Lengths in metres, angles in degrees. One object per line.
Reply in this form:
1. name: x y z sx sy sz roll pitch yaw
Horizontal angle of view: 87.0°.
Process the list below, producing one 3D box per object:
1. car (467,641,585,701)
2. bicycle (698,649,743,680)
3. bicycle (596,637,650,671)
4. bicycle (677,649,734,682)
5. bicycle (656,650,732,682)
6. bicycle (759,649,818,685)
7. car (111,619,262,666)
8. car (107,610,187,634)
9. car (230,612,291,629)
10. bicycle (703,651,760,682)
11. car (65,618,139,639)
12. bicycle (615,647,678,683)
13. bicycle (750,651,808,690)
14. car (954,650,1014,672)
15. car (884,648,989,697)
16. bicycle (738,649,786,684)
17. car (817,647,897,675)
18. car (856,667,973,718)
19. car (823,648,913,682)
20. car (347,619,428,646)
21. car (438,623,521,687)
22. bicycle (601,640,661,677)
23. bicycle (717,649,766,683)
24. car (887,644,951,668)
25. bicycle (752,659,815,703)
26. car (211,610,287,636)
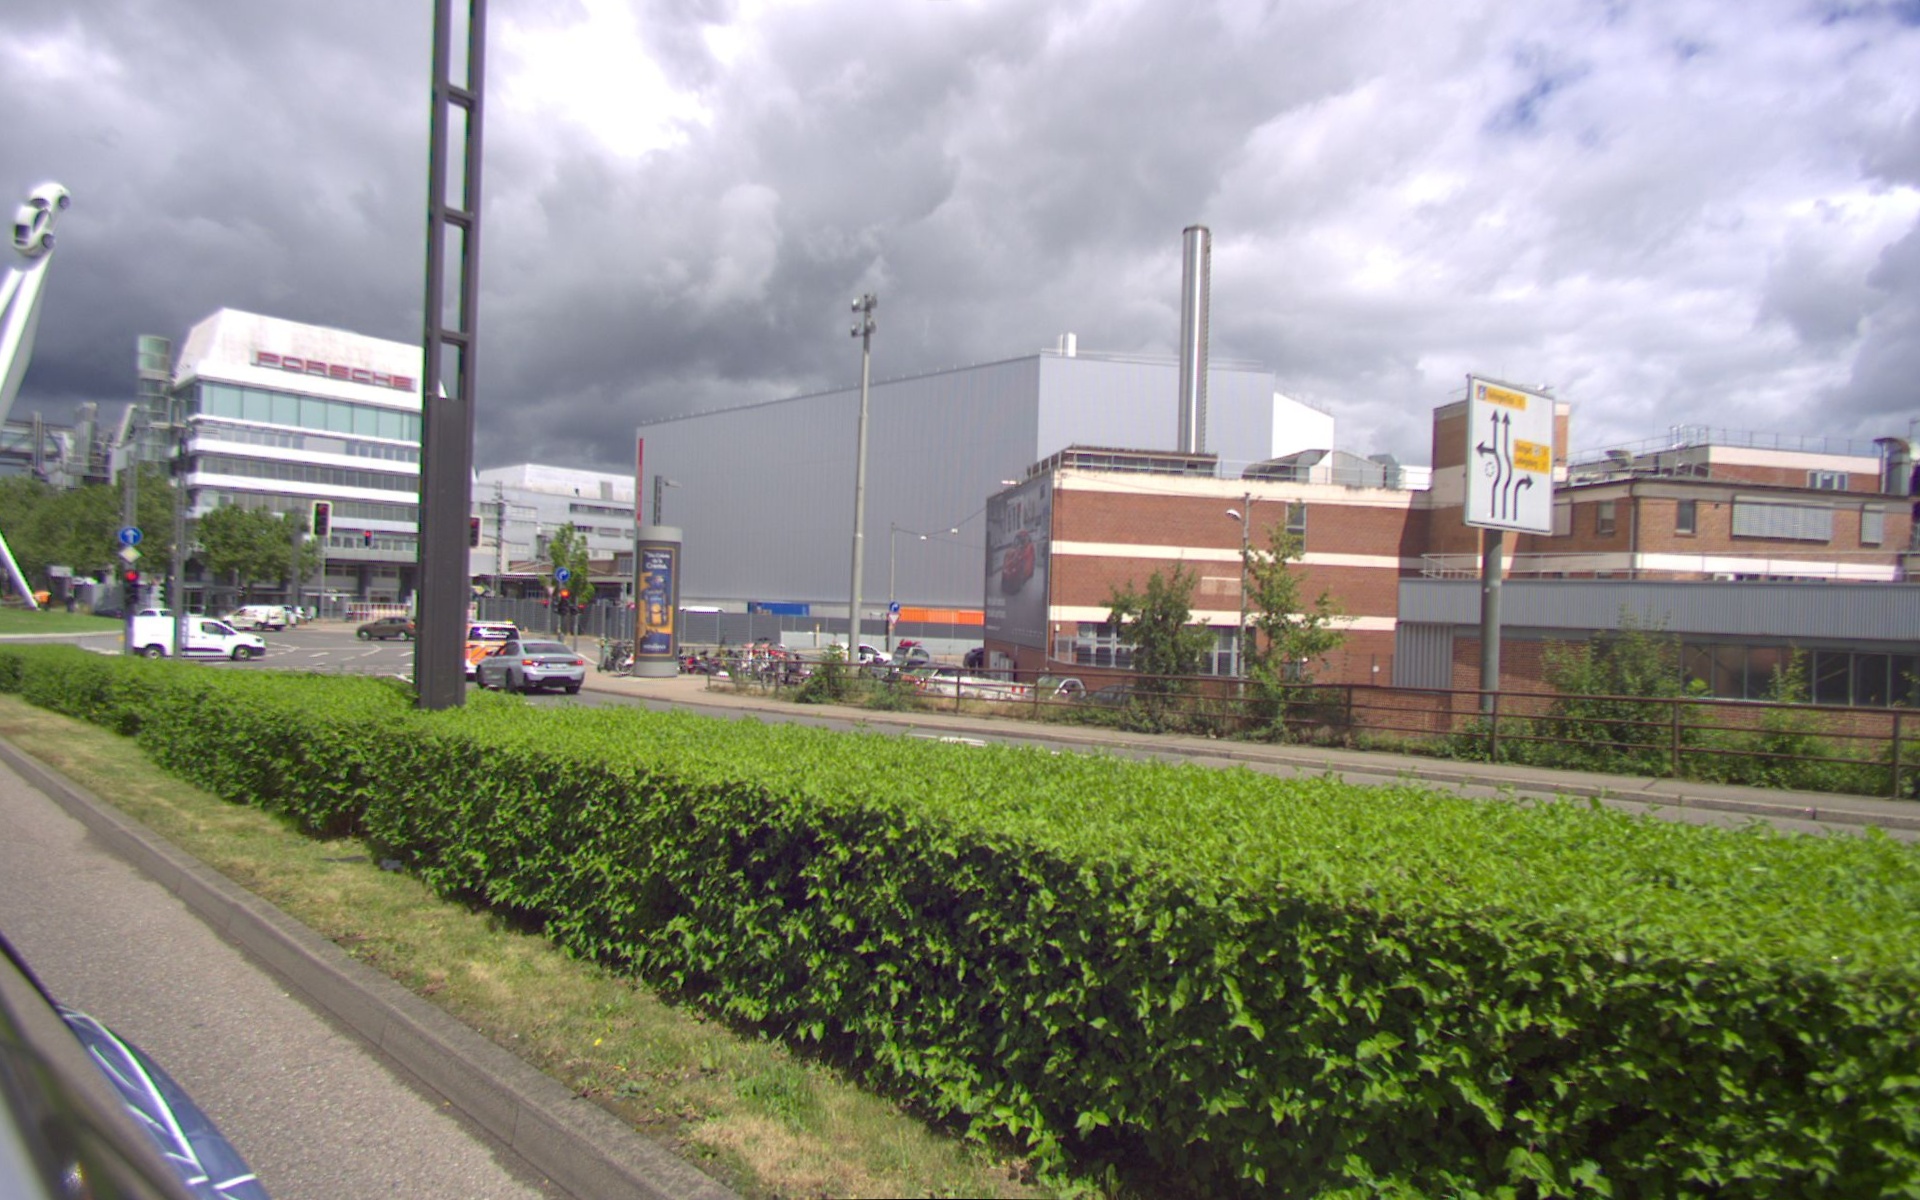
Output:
1. car: -12.017 1.896 27.866 1.773 1.433 4.500 3 -3 -39
2. bicycle: -8.028 2.146 33.862 1.950 0.996 0.513 -2 -3 44
3. bicycle: -13.010 2.084 39.146 1.861 1.277 0.669 1 -2 -42
4. bicycle: -10.307 2.635 41.022 2.077 1.265 0.742 1 -2 -30
5. bicycle: -11.413 2.823 43.435 3.028 1.276 1.167 1 -2 -24
6. bicycle: -5.129 1.997 30.412 0.619 0.996 1.928 -2 -3 32
7. car: -32.019 1.739 41.983 4.794 1.837 2.002 2 -2 -44
8. car: -56.839 1.559 70.821 4.193 1.591 1.996 0 -1 7
9. car: -59.073 1.769 85.522 3.891 1.388 1.633 1 -2 -14
10. bicycle: -8.813 2.558 39.095 2.024 1.121 0.674 1 -2 -35
11. car: -64.834 2.114 76.512 4.191 1.523 1.934 0 -1 6
12. bicycle: -10.872 2.243 35.130 2.012 1.176 0.622 2 -2 -40
13. bicycle: -6.474 2.518 36.323 1.926 1.355 0.713 2 -2 -38
14. car: 1.491 3.678 60.954 3.563 1.251 1.471 2 -3 -41
15. car: -0.975 2.949 41.550 3.930 1.875 1.757 1 -2 -21
16. bicycle: -6.004 2.004 30.768 0.616 0.996 1.939 -1 -2 17
17. car: -5.567 3.285 55.041 4.123 1.380 1.623 2 -2 -41
18. car: -1.433 2.799 31.091 3.570 1.330 1.436 -1 -2 40
19. car: -4.411 3.091 48.473 3.930 1.517 1.757 1 -2 -21
20. car: -37.332 2.115 66.109 4.132 1.708 1.956 1 -1 -5
21. car: -16.107 1.758 33.798 1.966 1.973 4.641 1 -1 -32
22. bicycle: -11.754 2.085 36.208 1.860 1.277 0.851 1 -2 -38
23. bicycle: -6.714 2.025 31.241 0.616 0.996 1.939 -1 -2 17
24. car: -2.333 3.194 58.101 3.564 1.251 1.471 2 -2 -41
25. bicycle: -4.321 1.949 24.658 0.513 0.996 1.952 2 -3 -43
26. car: -51.848 1.680 73.836 4.351 1.843 1.995 0 -1 9
